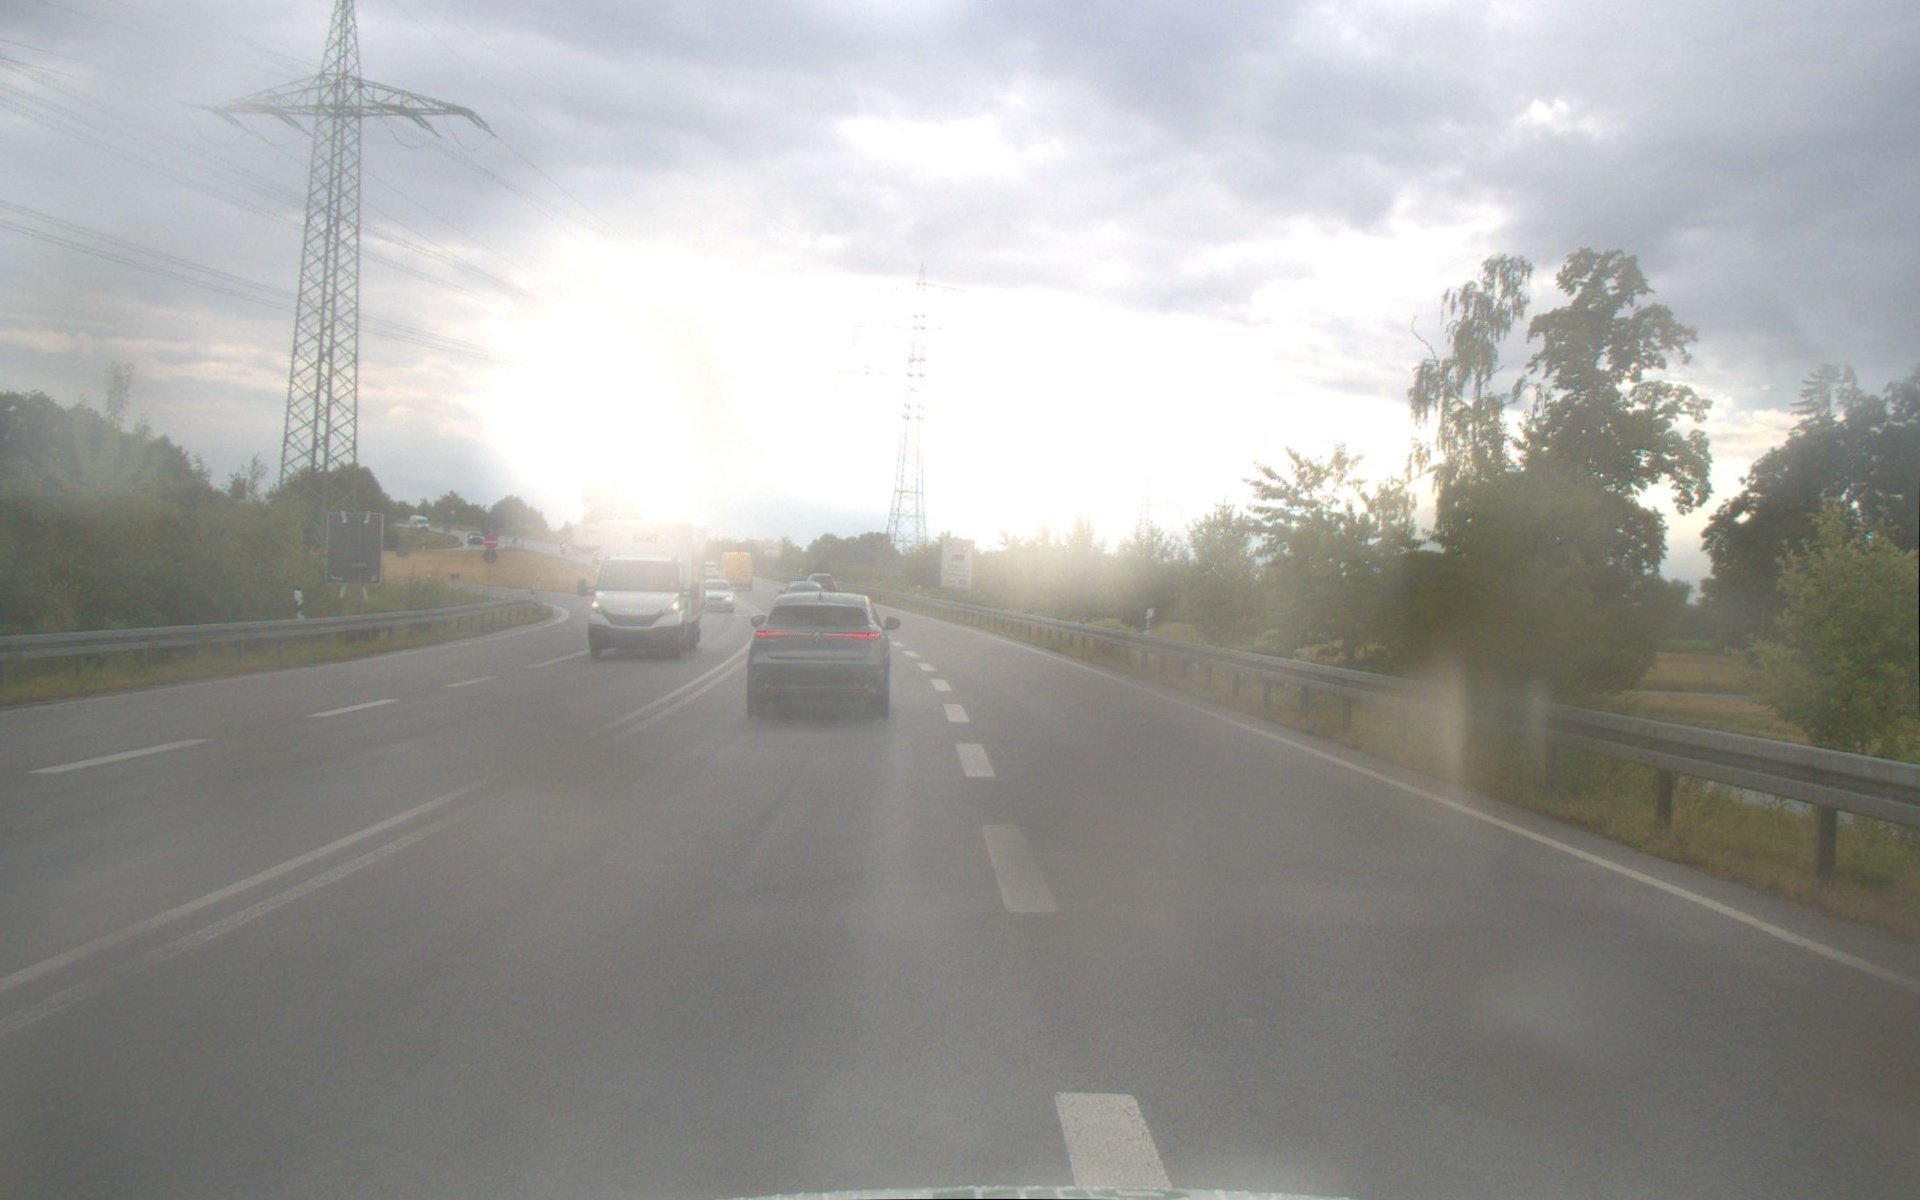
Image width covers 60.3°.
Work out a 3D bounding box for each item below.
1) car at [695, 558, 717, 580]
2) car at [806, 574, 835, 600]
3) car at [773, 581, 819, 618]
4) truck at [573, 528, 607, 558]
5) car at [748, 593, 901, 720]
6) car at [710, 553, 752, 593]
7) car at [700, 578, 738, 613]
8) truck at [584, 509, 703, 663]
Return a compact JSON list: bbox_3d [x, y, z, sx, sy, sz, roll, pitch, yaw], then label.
[{"bbox_3d":[-21.433,-2.621,139.436,1.759,1.717,3.991,0,2,-10],"label":"car"},{"bbox_3d":[-8.641,-0.767,102.247,1.757,1.568,3.995,1,0,-6],"label":"car"},{"bbox_3d":[-6.763,-0.019,68.416,1.756,1.466,3.996,1,0,-4],"label":"car"},{"bbox_3d":[-46.074,-7.079,205.830,3.002,3.443,7.596,2,0,-21],"label":"truck"},{"bbox_3d":[-1.662,0.674,21.407,1.755,1.466,3.998,-1,0,-2],"label":"car"},{"bbox_3d":[-16.222,-1.890,116.874,2.527,2.773,7.176,0,0,-11],"label":"car"},{"bbox_3d":[-11.039,-0.223,75.815,1.648,1.482,4.069,1,2,-8],"label":"car"},{"bbox_3d":[-7.147,-0.290,37.950,2.213,3.211,6.679,0,0,-7],"label":"truck"}]
